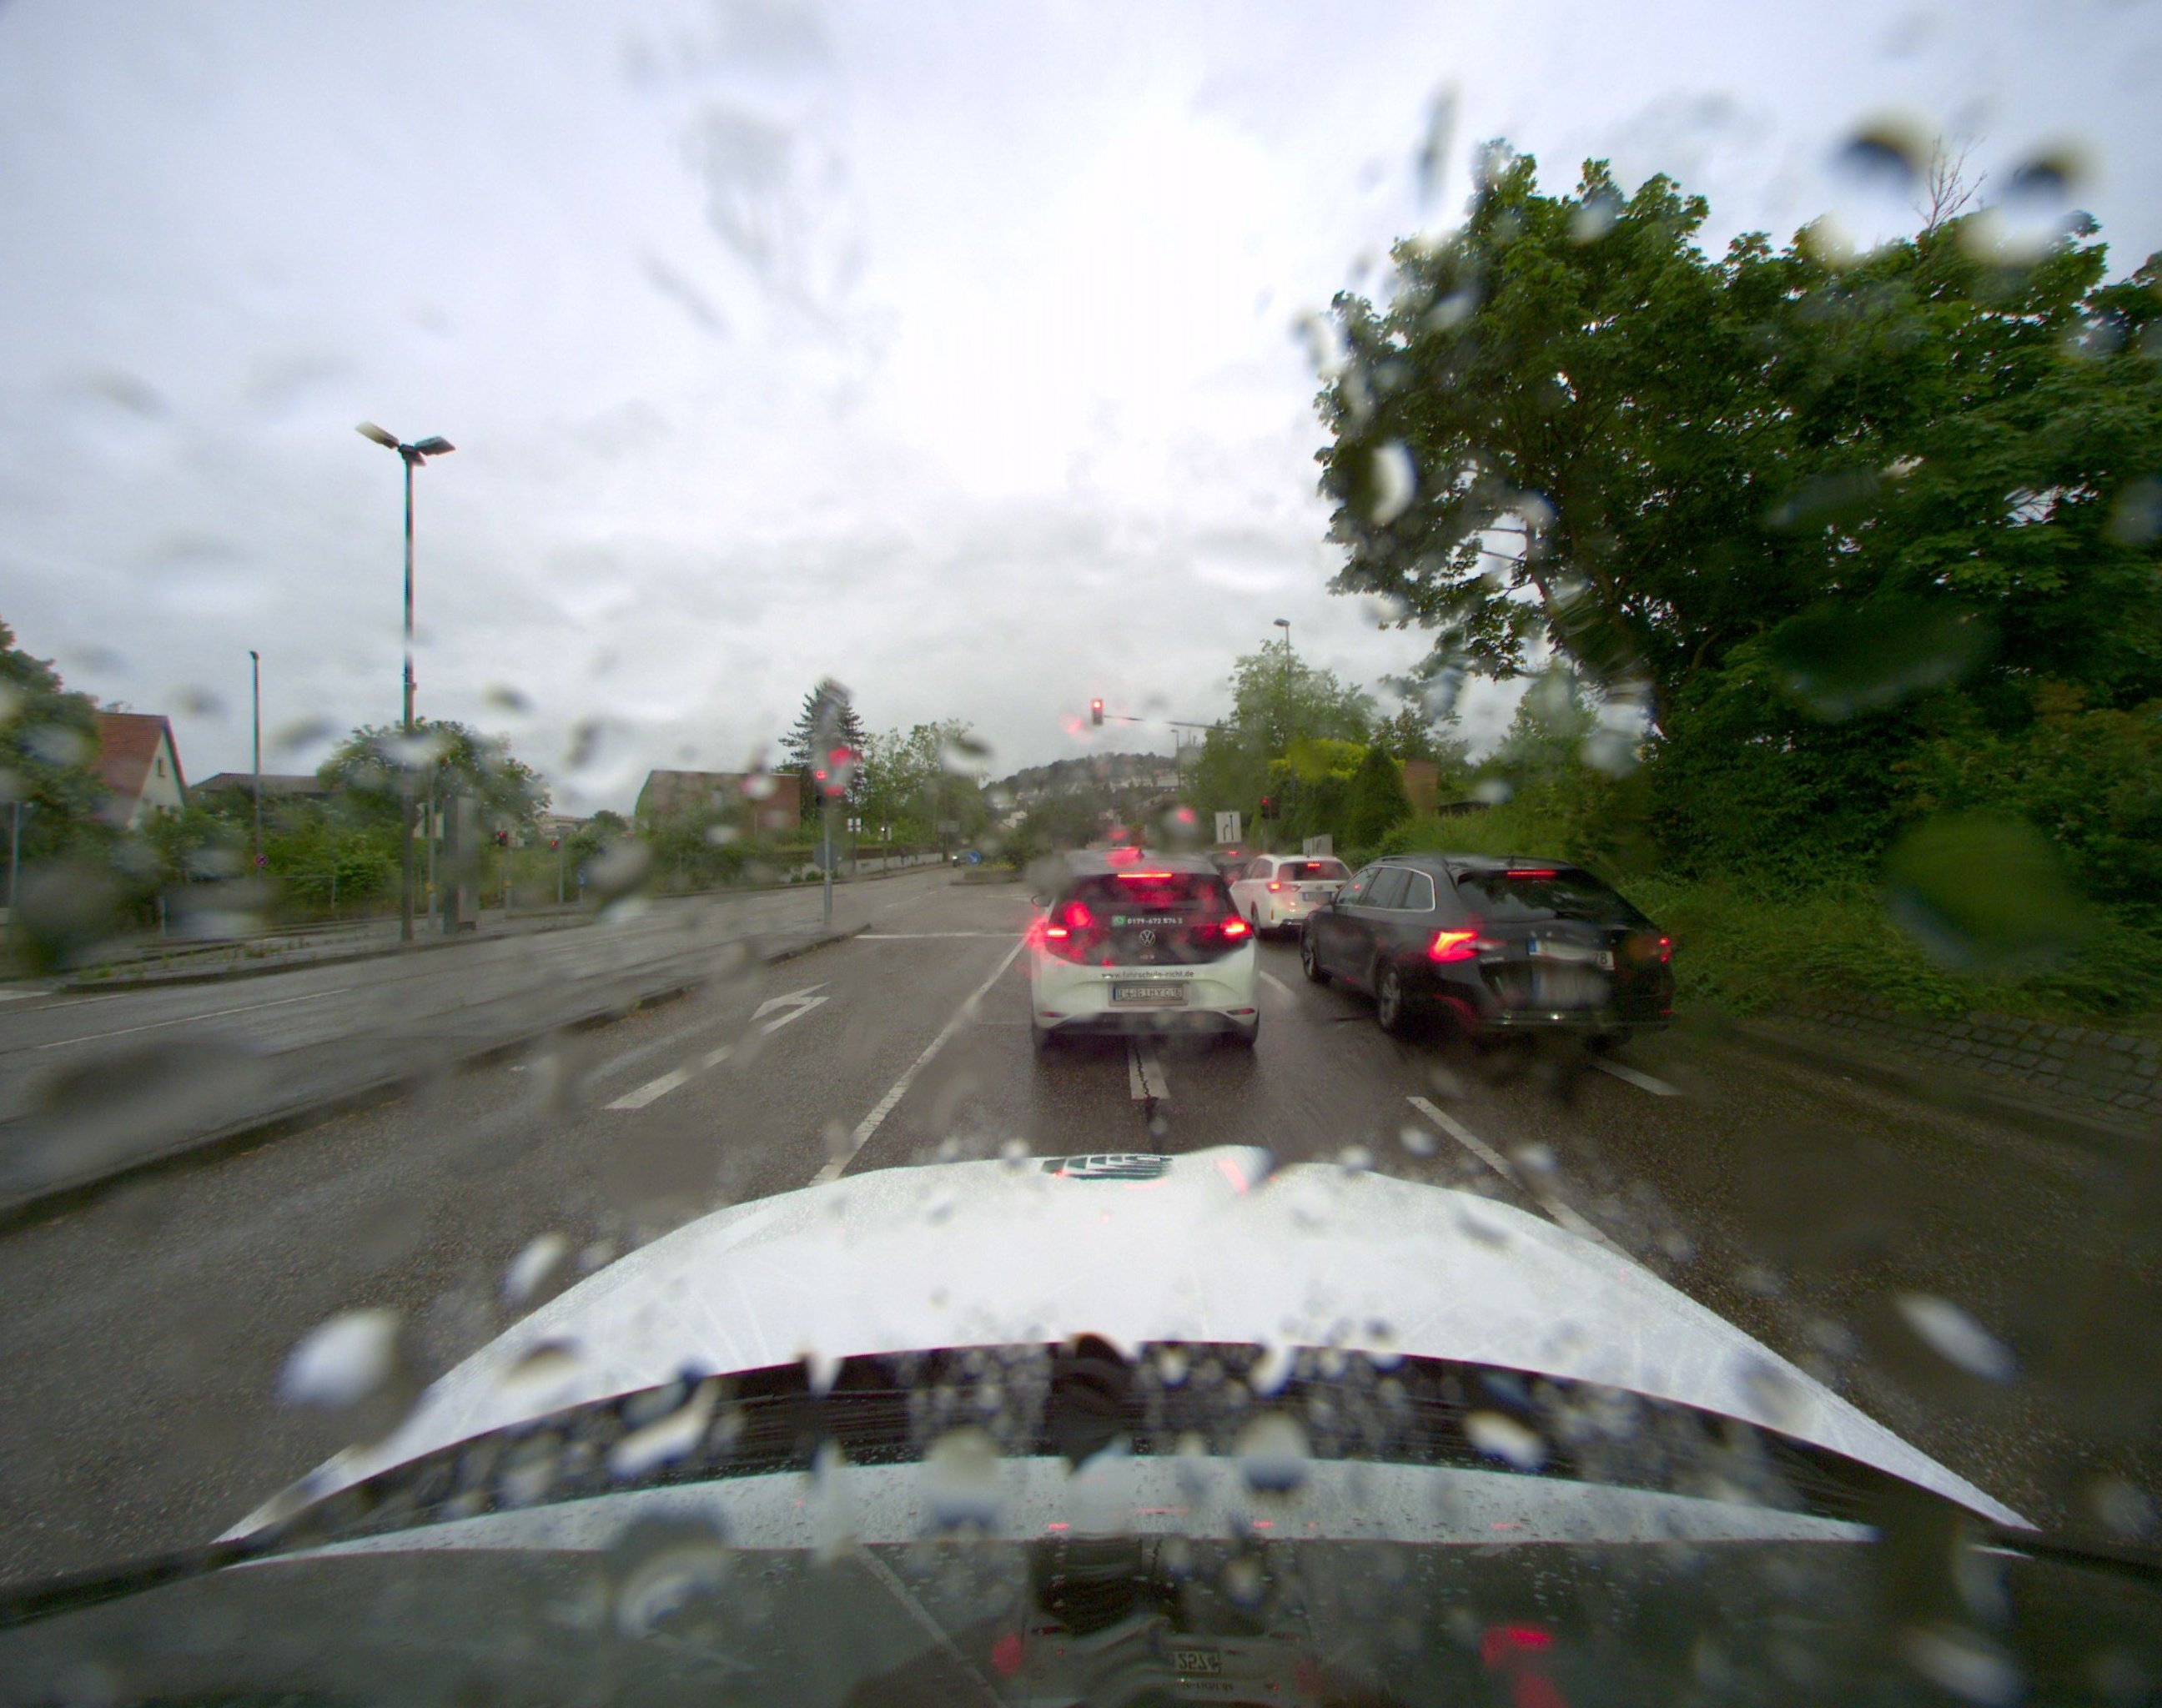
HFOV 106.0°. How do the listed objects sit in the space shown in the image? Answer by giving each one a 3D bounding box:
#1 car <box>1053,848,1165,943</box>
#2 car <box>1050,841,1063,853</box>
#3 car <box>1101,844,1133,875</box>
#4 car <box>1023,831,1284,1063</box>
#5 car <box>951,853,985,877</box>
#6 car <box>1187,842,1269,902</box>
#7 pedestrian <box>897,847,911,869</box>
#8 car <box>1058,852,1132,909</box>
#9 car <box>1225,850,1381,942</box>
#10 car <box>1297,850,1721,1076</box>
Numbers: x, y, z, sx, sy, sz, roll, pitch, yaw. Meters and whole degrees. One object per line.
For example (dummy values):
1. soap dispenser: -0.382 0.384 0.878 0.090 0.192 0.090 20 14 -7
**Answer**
1. car: 0.506 0.666 15.351 1.831 1.555 4.176 0 0 1
2. car: -4.157 -1.246 140.647 1.986 2.014 4.002 -1 -1 2
3. car: 1.959 0.292 43.429 1.574 1.467 4.004 -3 -1 4
4. car: 0.563 0.637 8.026 1.831 1.629 4.617 0 0 1
5. car: -9.365 0.856 67.916 1.986 1.804 4.002 -4 0 2
6. car: 4.114 0.477 23.369 1.769 1.581 4.002 0 0 2
7. pedestrian: -13.313 0.287 61.152 0.757 1.568 0.825 -4 0 1
8. car: 0.383 0.656 22.037 1.831 1.400 3.832 0 0 1
9. car: 3.901 0.653 15.026 1.831 1.466 4.118 0 0 1
10. car: 3.369 0.695 7.498 1.830 1.466 4.353 0 0 3
